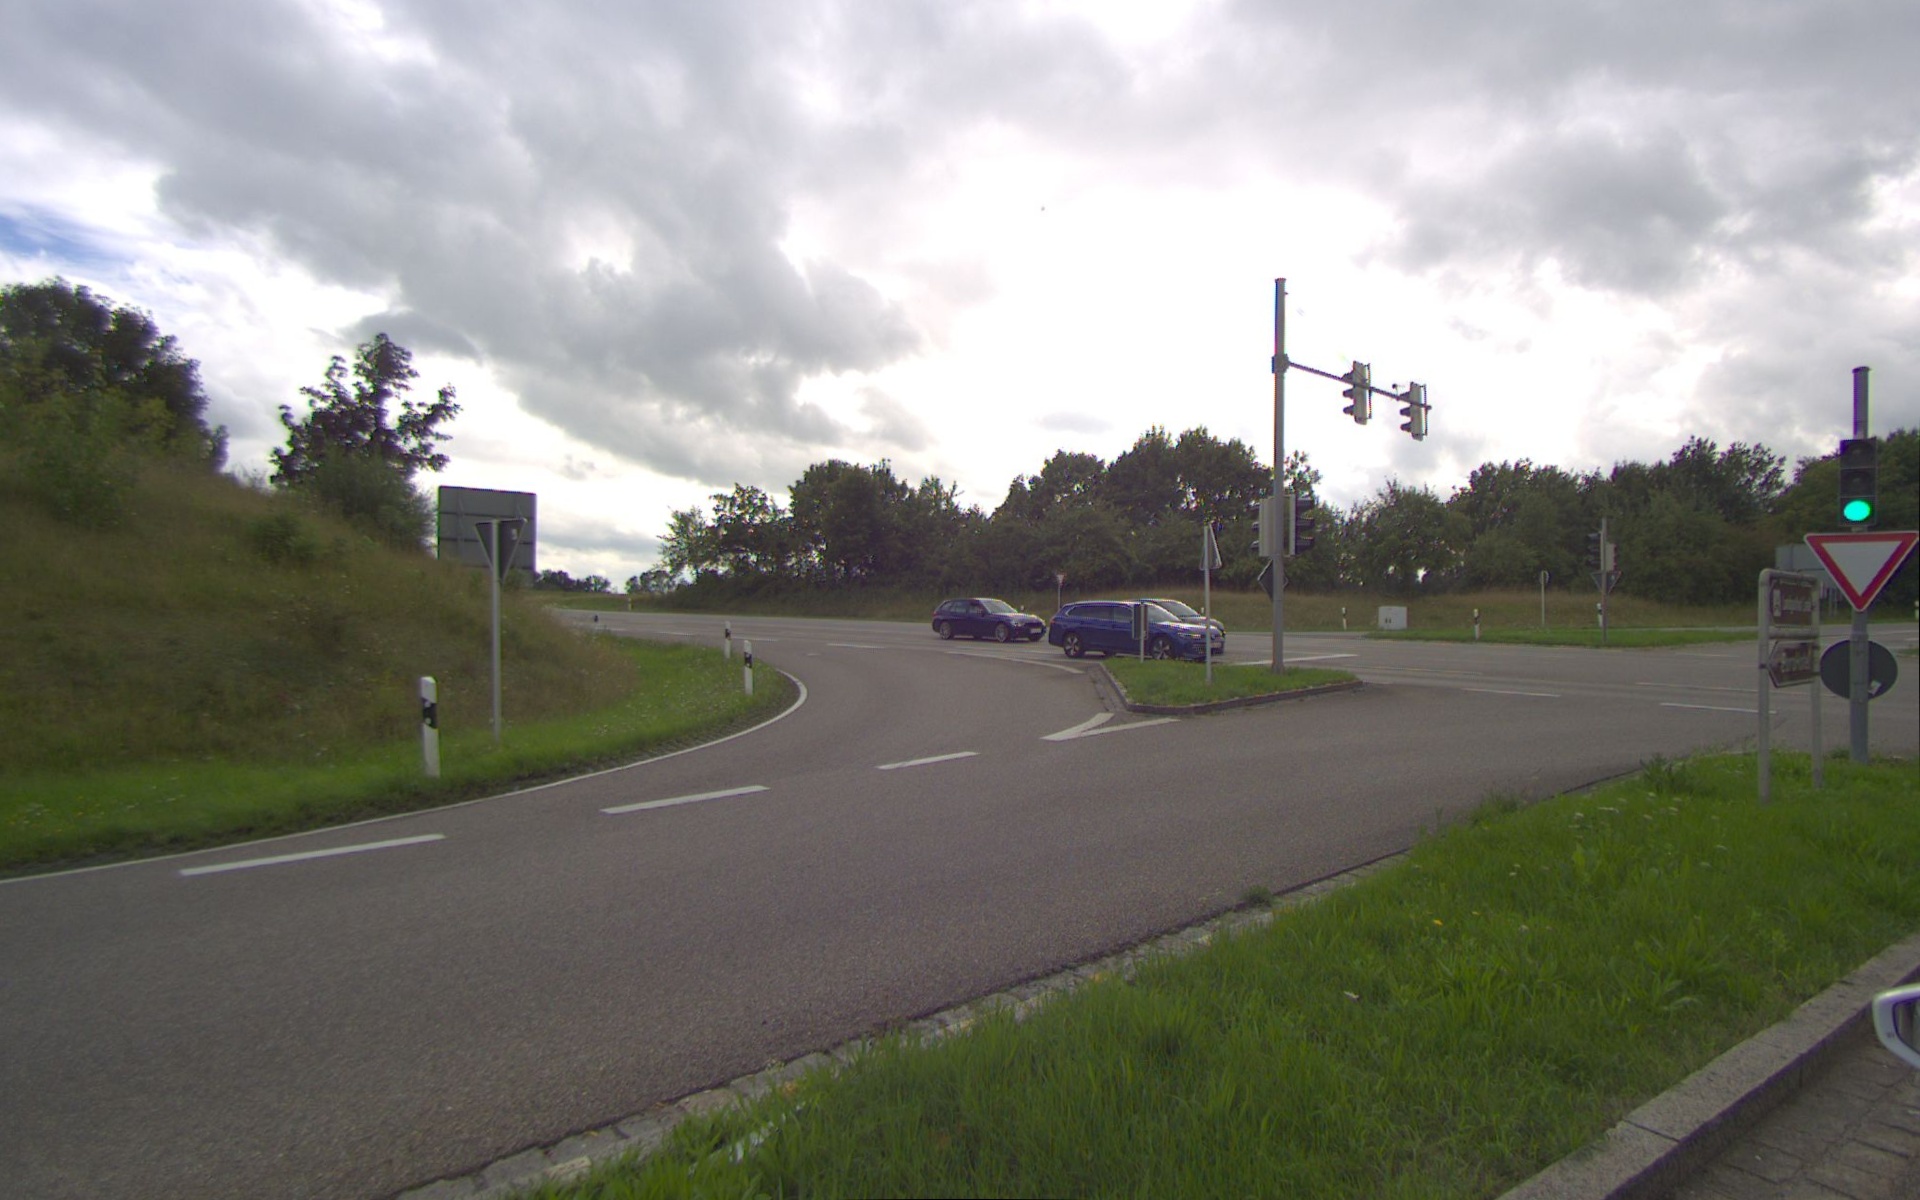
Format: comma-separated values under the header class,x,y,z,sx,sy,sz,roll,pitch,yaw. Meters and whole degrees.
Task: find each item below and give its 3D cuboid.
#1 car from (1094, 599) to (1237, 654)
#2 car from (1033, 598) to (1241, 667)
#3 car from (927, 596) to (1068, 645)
class,x,y,z,sx,sy,sz,roll,pitch,yaw
car,5.987,0.726,29.538,1.719,1.463,3.894,-1,1,-42
car,4.450,0.754,25.921,2.039,1.555,5.058,0,1,-45
car,1.231,0.665,34.786,2.041,1.504,4.818,-2,2,-44
